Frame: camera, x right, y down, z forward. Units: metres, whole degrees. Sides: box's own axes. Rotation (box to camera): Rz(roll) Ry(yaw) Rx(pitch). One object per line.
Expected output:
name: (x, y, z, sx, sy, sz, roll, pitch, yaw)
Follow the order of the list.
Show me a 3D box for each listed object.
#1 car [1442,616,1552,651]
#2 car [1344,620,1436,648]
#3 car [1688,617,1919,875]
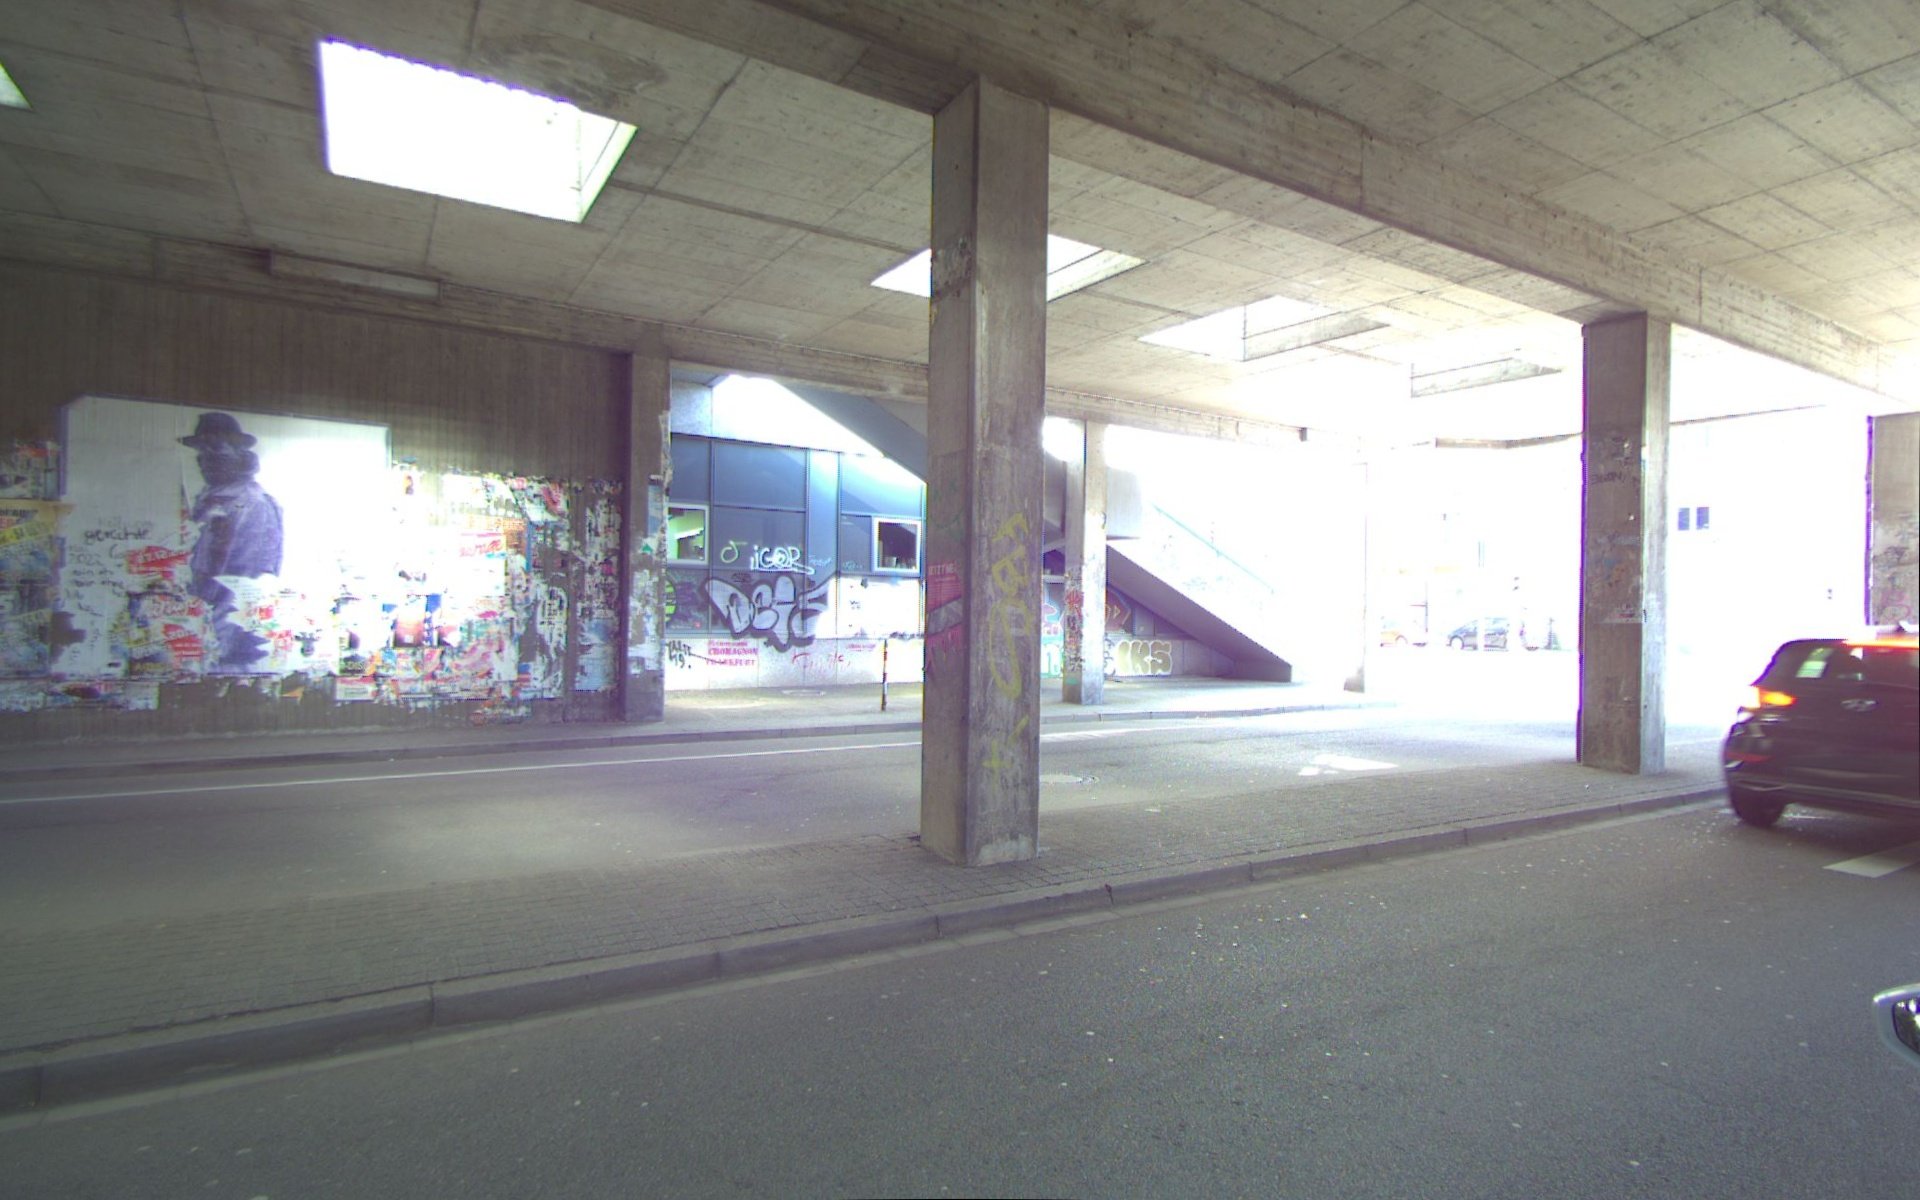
car: (25.404, 1.568, 47.644, 2.240, 1.571, 4.111, 1, -1, -29)
car: (22.482, 1.754, 52.655, 2.163, 1.392, 3.971, 1, -1, -28)
car: (7.203, 0.904, 7.188, 4.131, 1.466, 1.770, 1, 1, -32)
